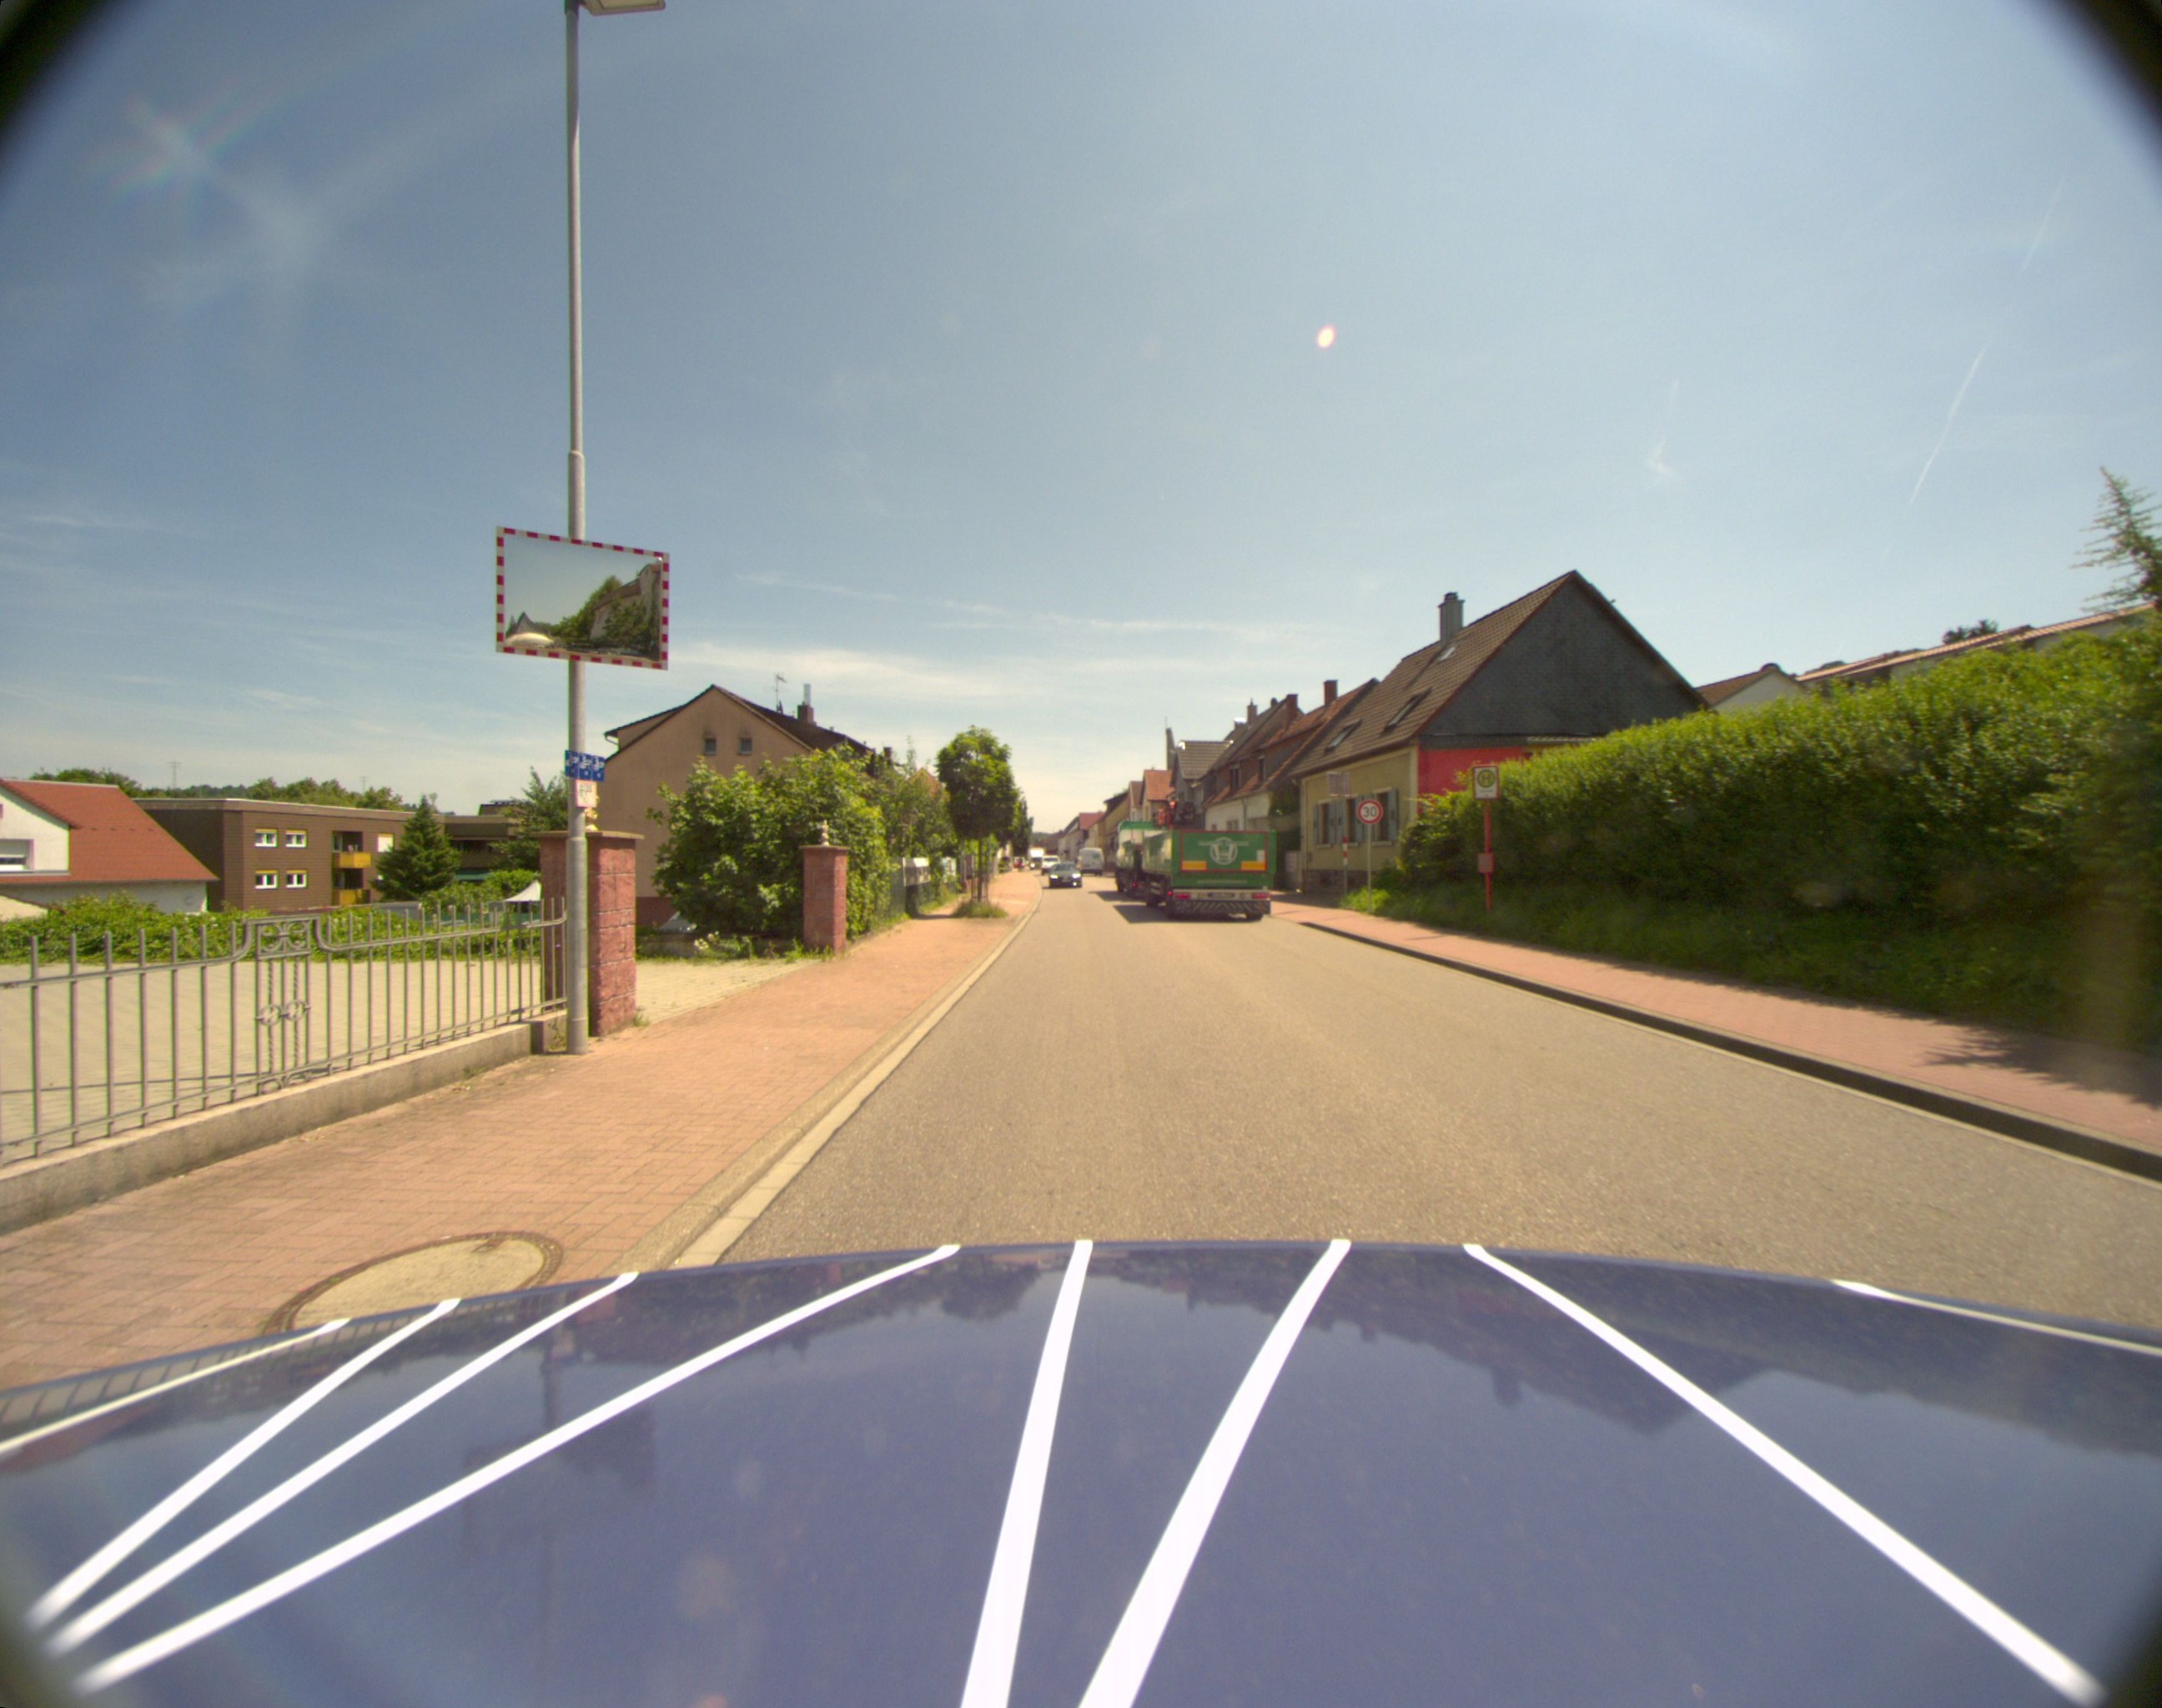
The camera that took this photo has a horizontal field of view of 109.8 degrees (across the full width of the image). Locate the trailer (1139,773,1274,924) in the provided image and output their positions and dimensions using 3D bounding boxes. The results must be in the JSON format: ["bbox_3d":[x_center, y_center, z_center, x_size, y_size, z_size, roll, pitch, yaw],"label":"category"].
[{"bbox_3d":[3.354,-0.108,22.537,2.536,3.627,8.461,0,0,-1],"label":"trailer"}]

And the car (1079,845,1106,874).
[{"bbox_3d":[1.006,0.490,69.579,2.035,2.446,6.066,0,0,-3],"label":"car"}]

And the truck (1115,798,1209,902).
[{"bbox_3d":[3.095,-0.120,31.837,2.574,3.678,10.076,0,0,-1],"label":"truck"}]

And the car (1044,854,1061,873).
[{"bbox_3d":[-2.831,0.907,75.861,1.637,1.833,3.569,-1,0,-3],"label":"car"}]

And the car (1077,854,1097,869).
[{"bbox_3d":[0.574,0.793,81.772,1.650,1.445,4.398,-4,1,-5],"label":"car"}]

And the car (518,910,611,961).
[{"bbox_3d":[-20.668,3.223,30.571,1.326,1.465,3.290,-7,2,-1],"label":"car"}]

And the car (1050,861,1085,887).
[{"bbox_3d":[-0.815,1.087,42.537,1.706,1.346,3.998,-2,0,-4],"label":"car"}]

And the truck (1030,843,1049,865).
[{"bbox_3d":[-6.916,0.008,125.943,2.899,3.516,12.948,-1,0,-4],"label":"truck"}]

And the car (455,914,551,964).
[{"bbox_3d":[-24.043,3.500,31.762,1.326,1.465,3.290,-7,2,-1],"label":"car"}]

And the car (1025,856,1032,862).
[{"bbox_3d":[-12.559,1.227,181.946,1.508,1.432,3.534,-3,1,-4],"label":"car"}]

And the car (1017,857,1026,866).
[{"bbox_3d":[-10.753,1.409,137.060,1.637,1.572,3.568,1,0,-4],"label":"car"}]
